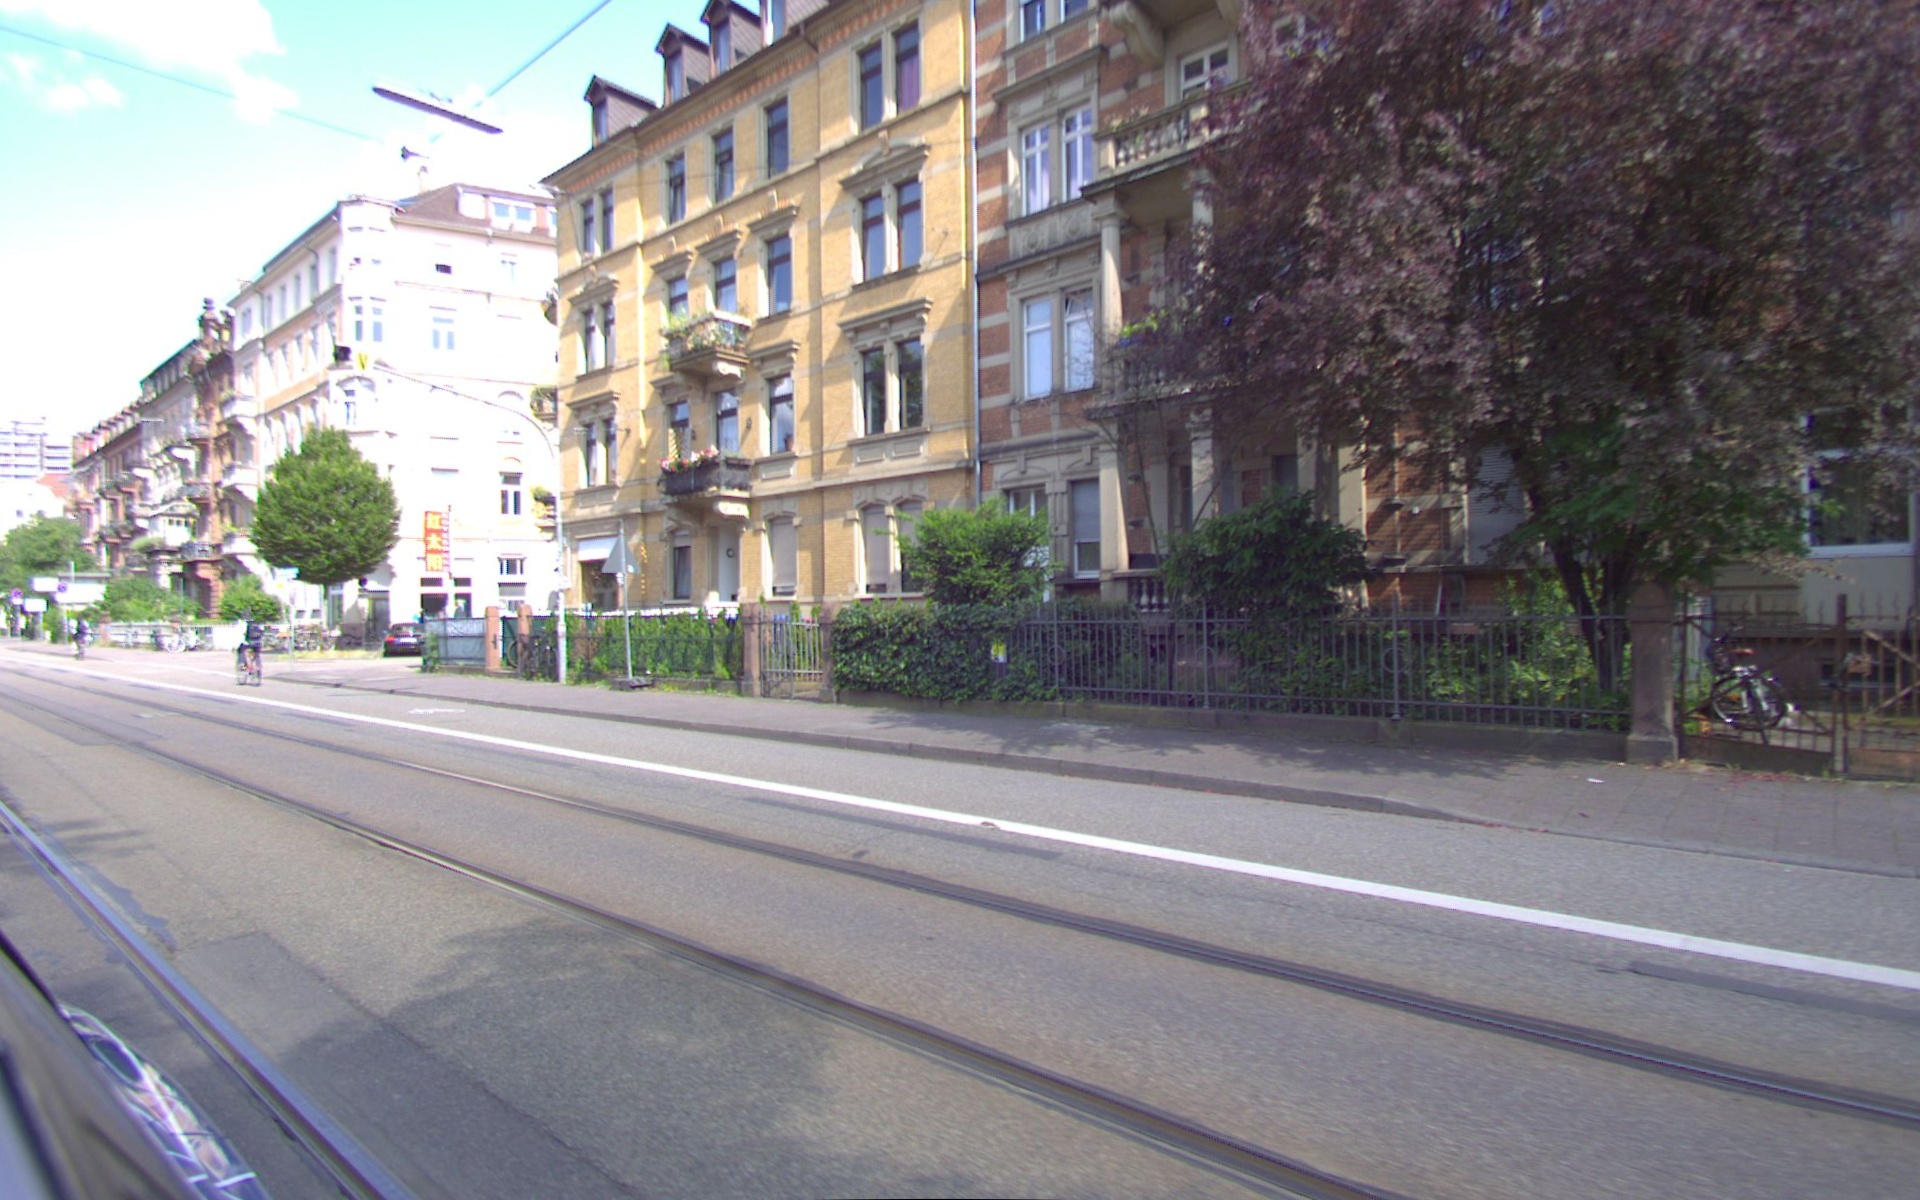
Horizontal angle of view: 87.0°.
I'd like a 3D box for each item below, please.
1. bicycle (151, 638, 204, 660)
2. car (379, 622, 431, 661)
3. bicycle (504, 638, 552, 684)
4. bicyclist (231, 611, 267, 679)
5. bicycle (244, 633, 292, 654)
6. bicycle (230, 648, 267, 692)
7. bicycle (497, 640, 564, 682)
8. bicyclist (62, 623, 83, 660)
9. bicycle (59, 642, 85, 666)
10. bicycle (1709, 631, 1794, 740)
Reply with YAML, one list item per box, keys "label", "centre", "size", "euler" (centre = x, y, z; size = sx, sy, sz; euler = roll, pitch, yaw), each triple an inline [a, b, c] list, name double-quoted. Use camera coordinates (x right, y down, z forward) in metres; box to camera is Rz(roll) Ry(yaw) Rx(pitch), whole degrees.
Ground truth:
- label: "bicycle"
  centre: [-33.913, 2.137, 43.894]
  size: [1.724, 0.948, 0.485]
  euler: [2, -2, -25]
- label: "car"
  centre: [-23.194, 1.689, 42.200]
  size: [1.751, 1.541, 3.876]
  euler: [0, -1, -31]
- label: "bicycle"
  centre: [-9.391, 1.330, 21.982]
  size: [1.472, 0.948, 0.395]
  euler: [-5, -6, 43]
- label: "bicyclist"
  centre: [-16.226, 1.020, 23.092]
  size: [0.605, 1.510, 0.744]
  euler: [2, -2, -37]
- label: "bicycle"
  centre: [-32.004, 2.022, 46.818]
  size: [0.483, 0.948, 1.731]
  euler: [-1, -3, 40]
- label: "bicycle"
  centre: [-16.208, 1.576, 23.035]
  size: [0.598, 0.948, 1.758]
  euler: [2, -3, -37]
- label: "bicycle"
  centre: [-10.120, 1.442, 23.859]
  size: [0.401, 0.948, 1.412]
  euler: [-5, -6, 42]
- label: "bicyclist"
  centre: [-36.103, 1.683, 41.183]
  size: [0.742, 1.510, 0.471]
  euler: [-1, -3, 38]
- label: "bicycle"
  centre: [-36.154, 2.183, 41.204]
  size: [1.752, 0.948, 0.477]
  euler: [-1, -3, 38]
- label: "bicycle"
  centre: [8.000, 0.806, 10.199]
  size: [0.586, 0.944, 2.106]
  euler: [-2, -1, 40]
